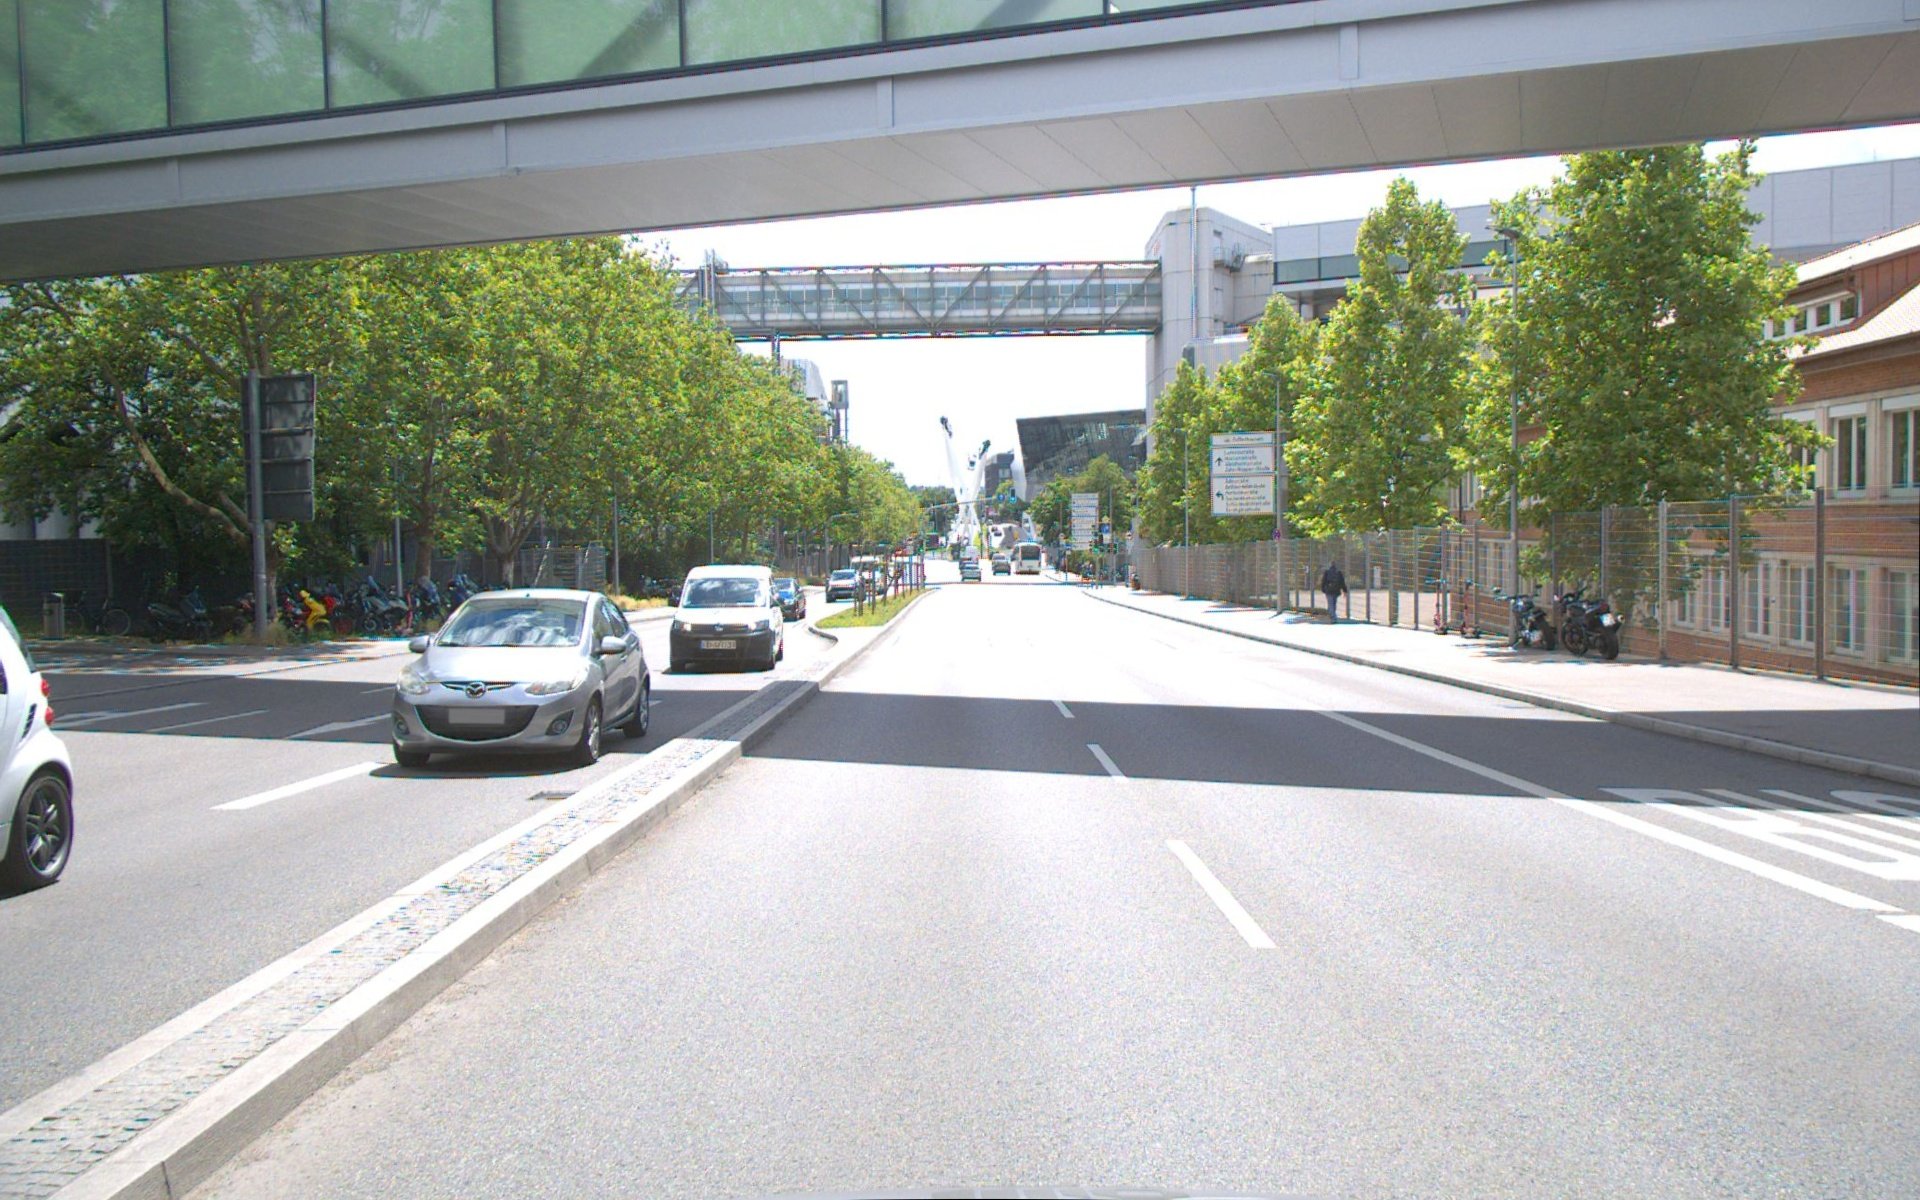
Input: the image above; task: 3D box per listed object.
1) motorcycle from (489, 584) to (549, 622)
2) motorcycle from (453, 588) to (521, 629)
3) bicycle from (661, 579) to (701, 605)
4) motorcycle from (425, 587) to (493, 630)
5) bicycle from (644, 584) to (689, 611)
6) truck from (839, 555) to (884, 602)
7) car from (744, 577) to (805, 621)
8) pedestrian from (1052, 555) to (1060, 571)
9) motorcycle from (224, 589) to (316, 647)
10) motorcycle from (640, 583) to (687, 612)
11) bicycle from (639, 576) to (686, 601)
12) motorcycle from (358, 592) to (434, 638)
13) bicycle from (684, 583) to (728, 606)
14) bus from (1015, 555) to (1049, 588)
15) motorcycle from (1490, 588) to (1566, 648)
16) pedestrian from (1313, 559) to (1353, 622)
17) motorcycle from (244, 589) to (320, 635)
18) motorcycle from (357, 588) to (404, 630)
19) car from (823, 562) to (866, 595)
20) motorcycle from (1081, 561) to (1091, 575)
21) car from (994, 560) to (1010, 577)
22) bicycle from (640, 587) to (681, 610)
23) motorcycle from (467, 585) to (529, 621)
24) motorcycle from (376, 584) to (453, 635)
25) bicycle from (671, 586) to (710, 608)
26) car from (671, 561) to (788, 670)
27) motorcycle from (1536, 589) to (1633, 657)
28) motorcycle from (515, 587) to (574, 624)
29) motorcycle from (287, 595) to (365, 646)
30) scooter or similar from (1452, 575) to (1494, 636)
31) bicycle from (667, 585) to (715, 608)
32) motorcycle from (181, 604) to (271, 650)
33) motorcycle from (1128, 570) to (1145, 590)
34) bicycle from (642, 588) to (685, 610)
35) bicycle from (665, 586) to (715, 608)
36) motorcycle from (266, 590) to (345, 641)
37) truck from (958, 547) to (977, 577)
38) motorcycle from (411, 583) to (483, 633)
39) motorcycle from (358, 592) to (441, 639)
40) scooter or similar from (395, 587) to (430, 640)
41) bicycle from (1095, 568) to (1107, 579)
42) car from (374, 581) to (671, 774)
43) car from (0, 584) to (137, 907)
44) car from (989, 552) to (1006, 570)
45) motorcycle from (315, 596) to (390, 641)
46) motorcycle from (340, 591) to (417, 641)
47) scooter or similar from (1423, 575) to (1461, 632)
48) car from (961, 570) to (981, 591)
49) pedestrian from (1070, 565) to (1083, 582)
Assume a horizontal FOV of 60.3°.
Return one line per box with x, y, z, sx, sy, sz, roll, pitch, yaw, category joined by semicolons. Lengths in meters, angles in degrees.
-15.081;0.097;56.578;1.838;1.207;0.730;2;1;9;motorcycle
-14.856;0.260;51.963;1.838;1.200;0.816;2;2;9;motorcycle
-14.009;-0.420;83.049;1.879;1.305;0.806;0;1;-1;bicycle
-15.255;0.250;50.369;1.838;1.200;0.815;2;2;15;motorcycle
-14.575;-0.122;82.130;2.090;1.305;0.806;0;1;-1;bicycle
-6.122;-1.357;103.700;2.428;2.799;6.458;-1;1;0;truck
-6.420;-0.072;57.603;1.674;1.479;4.479;0;1;-1;car
10.214;-3.907;175.209;0.803;1.737;0.881;0;1;1;pedestrian
-15.220;0.393;36.523;1.705;1.191;0.777;2;2;8;motorcycle
-13.975;-0.118;77.933;2.090;1.332;0.806;0;1;-1;motorcycle
-14.214;-0.554;79.031;2.090;1.201;0.806;0;1;-1;bicycle
-15.443;0.394;45.297;1.895;1.135;0.920;3;2;27;motorcycle
-13.950;-0.303;90.846;2.354;1.280;0.556;0;1;2;bicycle
8.007;-3.195;185.598;3.381;3.605;10.607;0;1;1;bus
10.998;0.332;32.111;0.654;1.082;2.247;-3;1;0;motorcycle
10.846;-0.279;48.124;0.859;1.774;0.940;-2;0;0;pedestrian
-18.797;0.321;45.847;1.895;1.135;0.920;3;2;27;motorcycle
-18.488;0.284;52.780;0.639;1.230;1.984;2;2;5;motorcycle
-5.927;-1.100;85.366;1.866;1.659;4.293;0;1;0;car
11.212;-2.847;147.414;0.692;1.224;2.025;-2;2;1;motorcycle
4.412;-3.285;173.898;1.702;1.772;3.692;0;1;1;car
-14.441;-0.073;79.785;1.885;1.093;0.422;0;1;-2;bicycle
-15.413;0.082;55.183;1.838;1.103;0.795;2;2;16;motorcycle
-15.369;0.263;46.600;1.892;1.313;0.893;2;2;21;motorcycle
-13.862;-0.156;85.227;1.879;1.142;0.806;0;1;-1;bicycle
-4.088;0.232;29.999;1.772;1.811;4.974;0;1;-4;car
10.908;0.376;28.981;0.693;1.082;2.510;-3;1;0;motorcycle
-14.627;0.184;58.253;1.838;1.193;0.746;2;2;10;motorcycle
-15.263;0.483;39.831;1.558;1.142;0.776;2;2;1;motorcycle
11.431;0.113;36.888;0.481;1.317;1.336;-2;0;0;scooter or similar
-14.608;-0.195;89.783;2.510;1.177;0.726;0;1;10;bicycle
-15.787;0.574;35.569;1.706;0.883;0.776;2;2;21;motorcycle
10.994;-1.257;103.293;0.679;1.178;2.147;-2;1;-3;motorcycle
-14.385;-0.040;80.255;2.038;1.081;0.497;0;1;-2;bicycle
-14.366;-0.135;87.988;2.510;1.115;0.696;-1;0;10;bicycle
-15.320;0.360;38.726;1.561;1.142;0.775;1;2;-9;motorcycle
1.029;-5.156;224.768;2.342;3.965;6.179;0;1;1;truck
-15.188;0.232;48.928;1.892;1.367;0.865;2;2;21;motorcycle
-14.710;0.412;43.465;1.897;1.135;0.919;-3;0;-11;motorcycle
-13.321;0.325;40.257;0.347;1.258;1.479;1;0;0;scooter or similar
12.255;-2.276;143.785;0.391;0.953;1.919;0;1;-17;bicycle
-3.827;0.602;15.156;1.674;1.514;3.984;-1;0;0;car
-5.230;0.683;7.545;1.475;1.514;3.115;0;0;-2;car
4.608;-4.770;201.511;1.952;2.049;4.001;1;0;2;car
-15.100;0.457;41.158;1.558;1.051;0.776;2;2;1;motorcycle
-14.842;0.397;42.229;1.715;1.199;0.851;1;2;-11;motorcycle
11.431;0.067;39.276;0.481;1.317;1.336;-2;0;0;scooter or similar
0.981;-1.747;146.315;1.702;1.772;3.692;0;1;1;car
11.210;-2.562;158.636;0.835;1.653;0.950;1;1;42;pedestrian
